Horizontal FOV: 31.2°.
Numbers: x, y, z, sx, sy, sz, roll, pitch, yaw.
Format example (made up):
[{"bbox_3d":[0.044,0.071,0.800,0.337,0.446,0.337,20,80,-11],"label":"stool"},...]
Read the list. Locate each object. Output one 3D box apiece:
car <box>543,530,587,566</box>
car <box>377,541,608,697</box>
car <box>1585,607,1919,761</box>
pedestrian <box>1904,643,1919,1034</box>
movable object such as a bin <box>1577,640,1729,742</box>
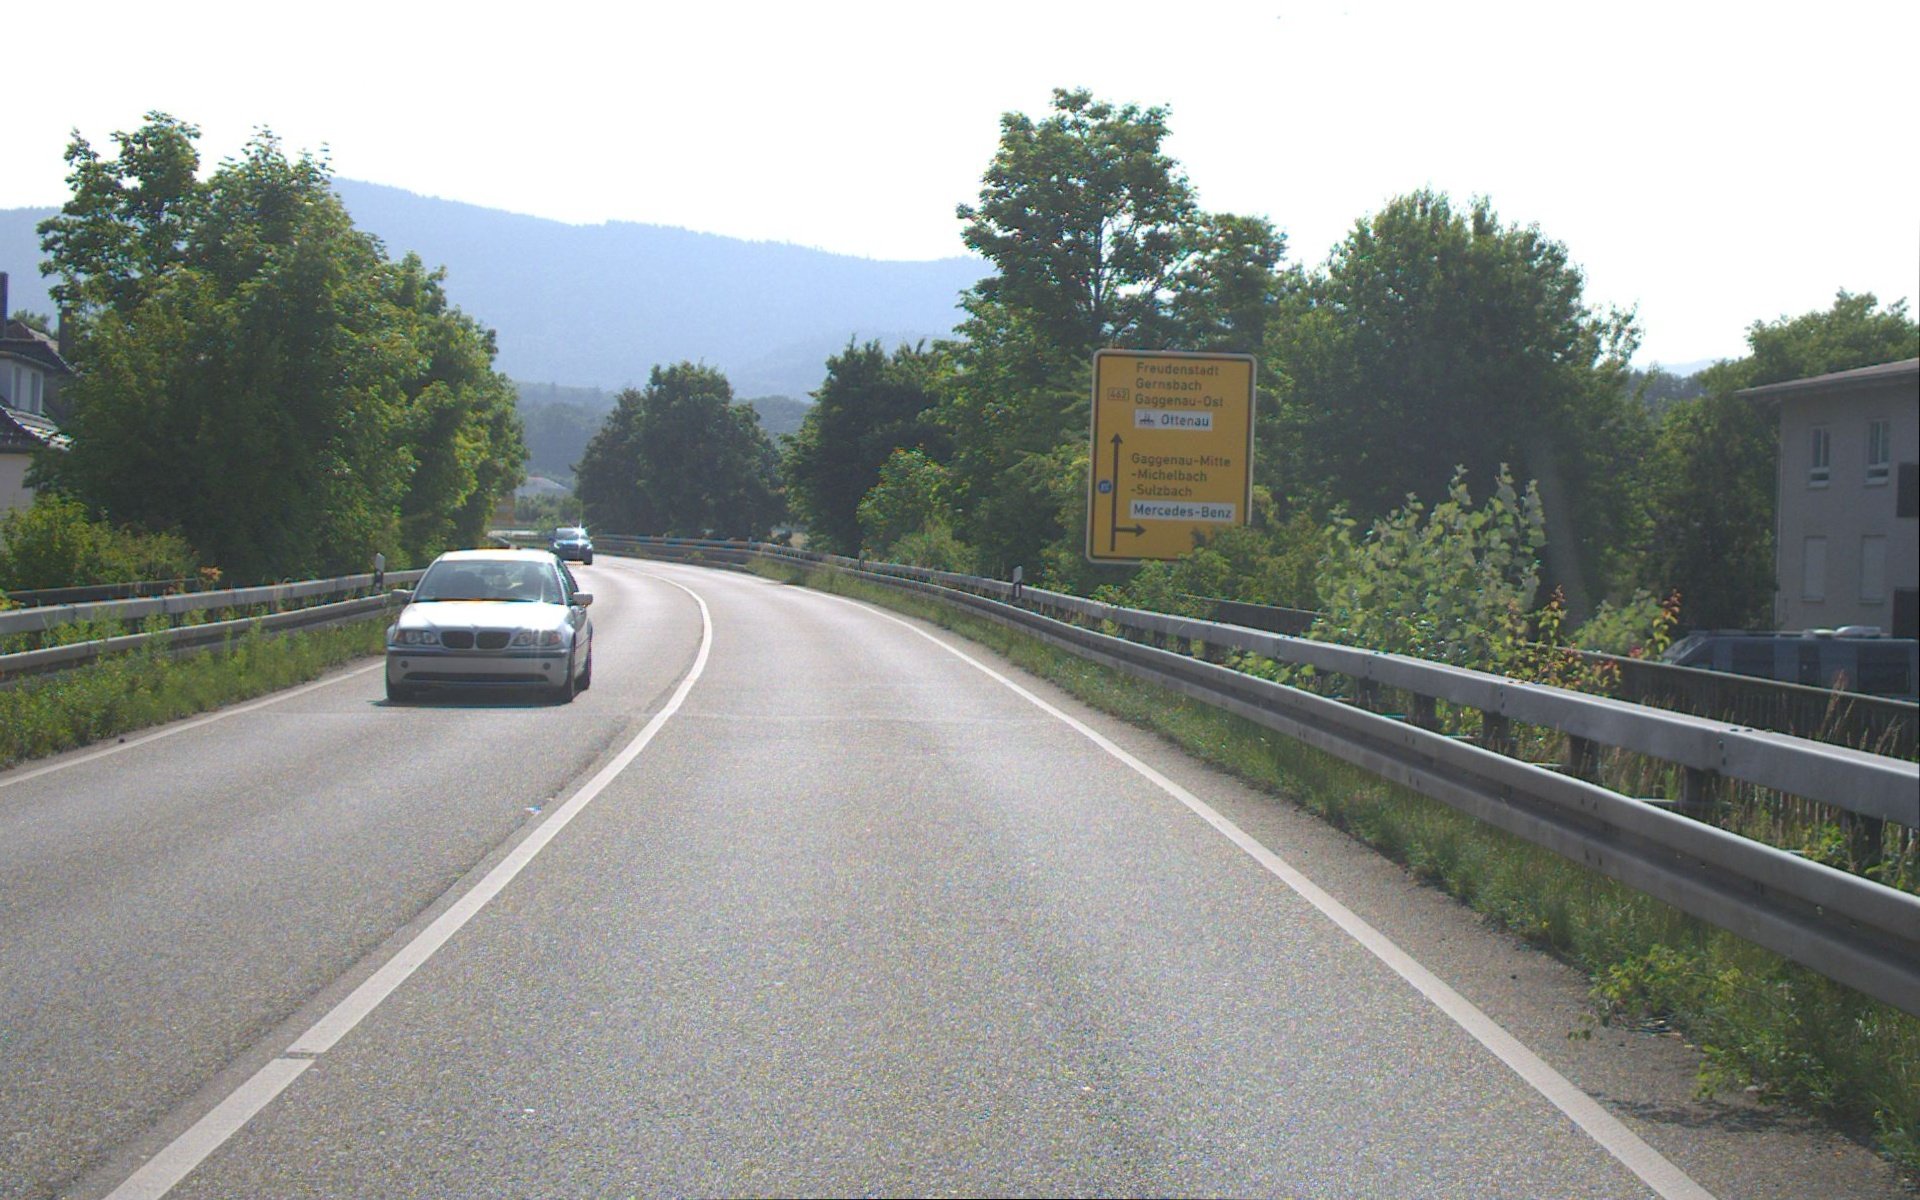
[{"bbox_3d":[-17.366,-2.276,151.254,1.807,1.555,3.993,-1,1,-6],"label":"car"},{"bbox_3d":[-4.449,0.143,33.208,1.758,1.406,3.990,0,1,-1],"label":"car"},{"bbox_3d":[15.349,1.638,66.252,6.072,2.679,2.313,2,-3,-3],"label":"car"},{"bbox_3d":[5.356,1.243,17.556,0.788,2.007,0.997,1,1,2],"label":"pedestrian"},{"bbox_3d":[14.892,1.948,73.933,2.783,2.007,1.588,3,1,-3],"label":"movable object such as a bin"}]
